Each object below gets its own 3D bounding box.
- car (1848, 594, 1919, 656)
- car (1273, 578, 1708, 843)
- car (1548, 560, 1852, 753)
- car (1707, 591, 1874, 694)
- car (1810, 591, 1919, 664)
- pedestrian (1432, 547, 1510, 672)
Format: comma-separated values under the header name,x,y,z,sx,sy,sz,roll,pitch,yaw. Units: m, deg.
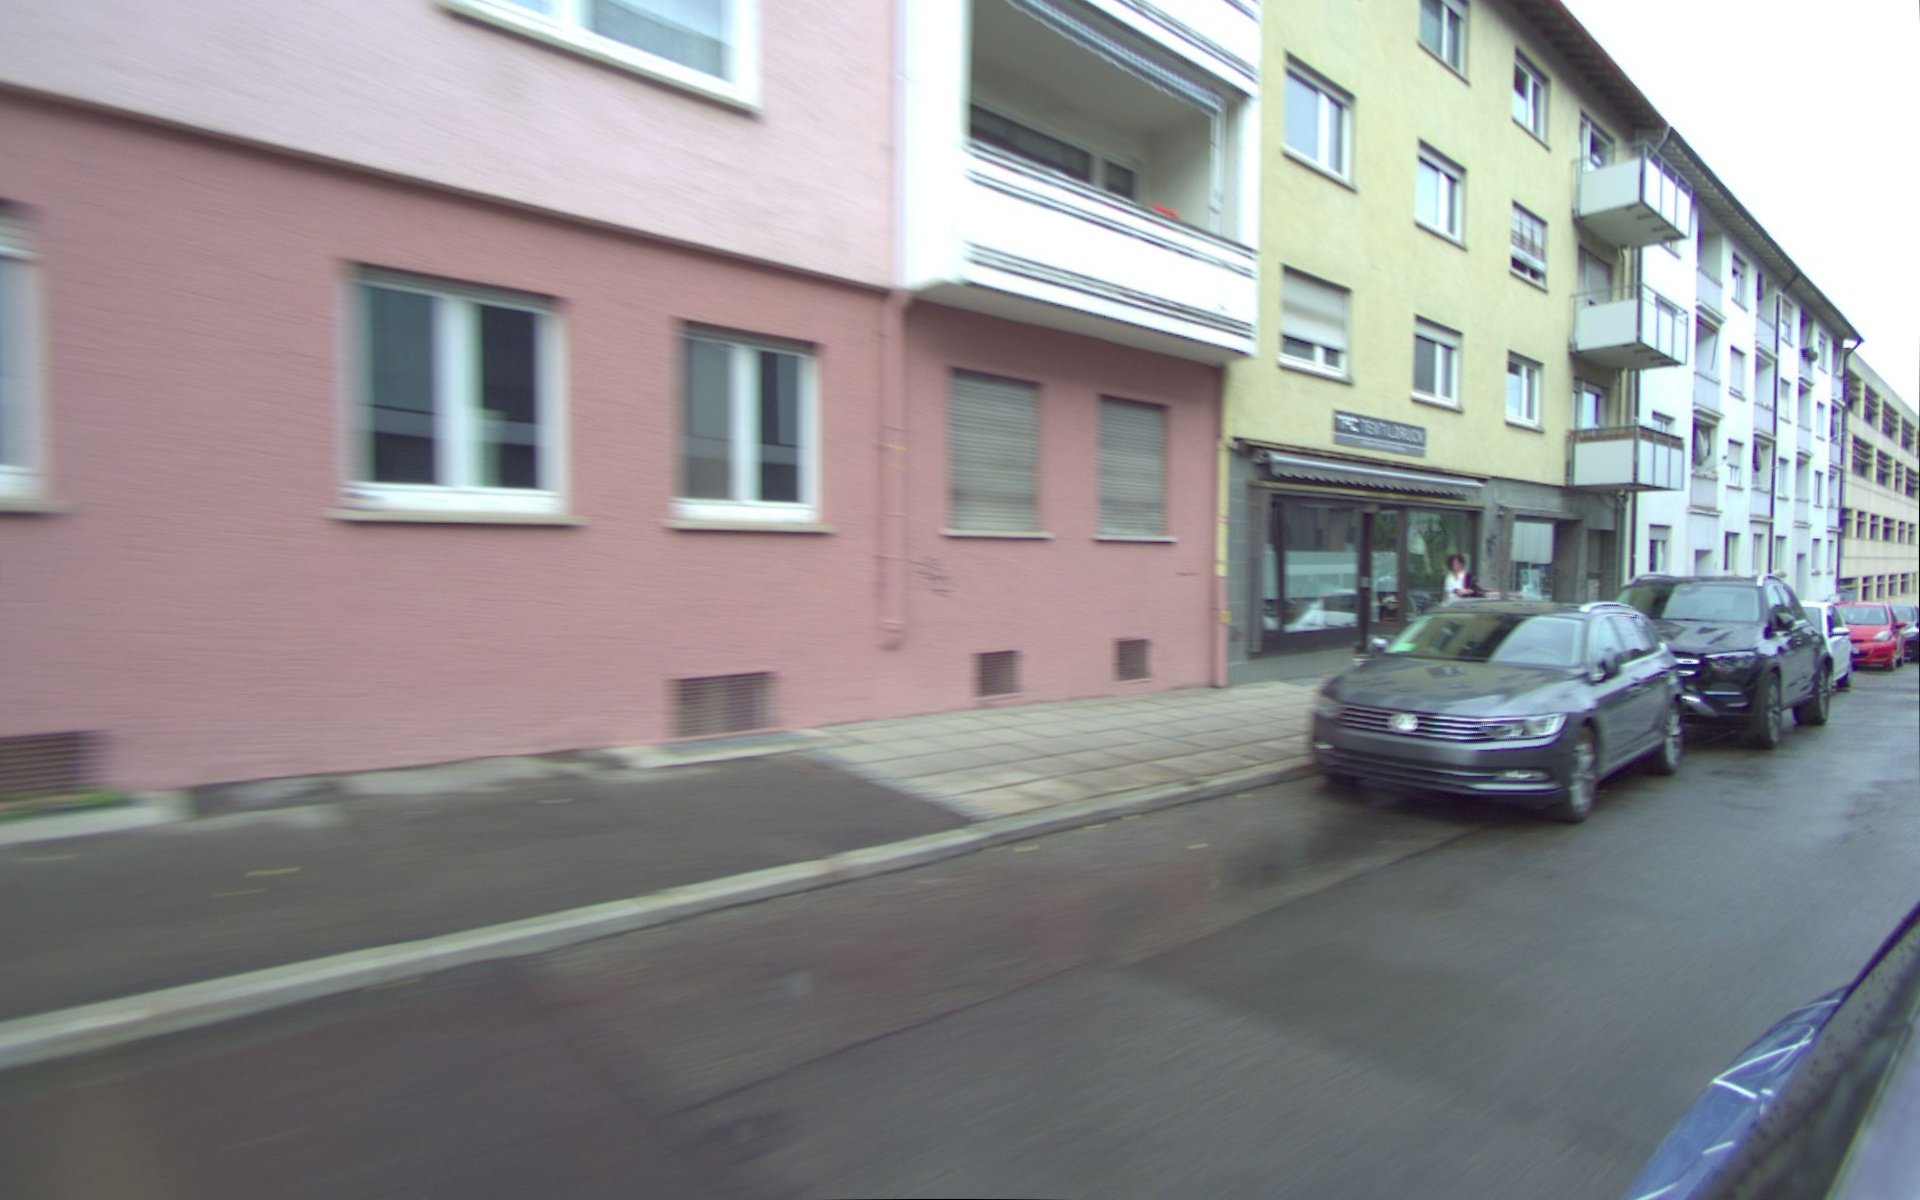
name,x,y,z,sx,sy,sz,roll,pitch,yaw
car,24.119,0.595,25.897,3.712,1.428,1.629,-1,2,-41
car,4.480,0.620,8.187,4.438,1.538,1.794,-1,2,-44
car,8.621,0.500,11.641,4.435,1.796,1.966,-1,0,-42
car,13.783,0.616,16.746,3.424,1.474,1.629,-1,2,-42
car,20.321,0.551,22.574,3.424,1.474,1.629,-1,2,-42
pedestrian,7.729,0.122,15.312,0.735,1.794,0.715,0,4,-42
